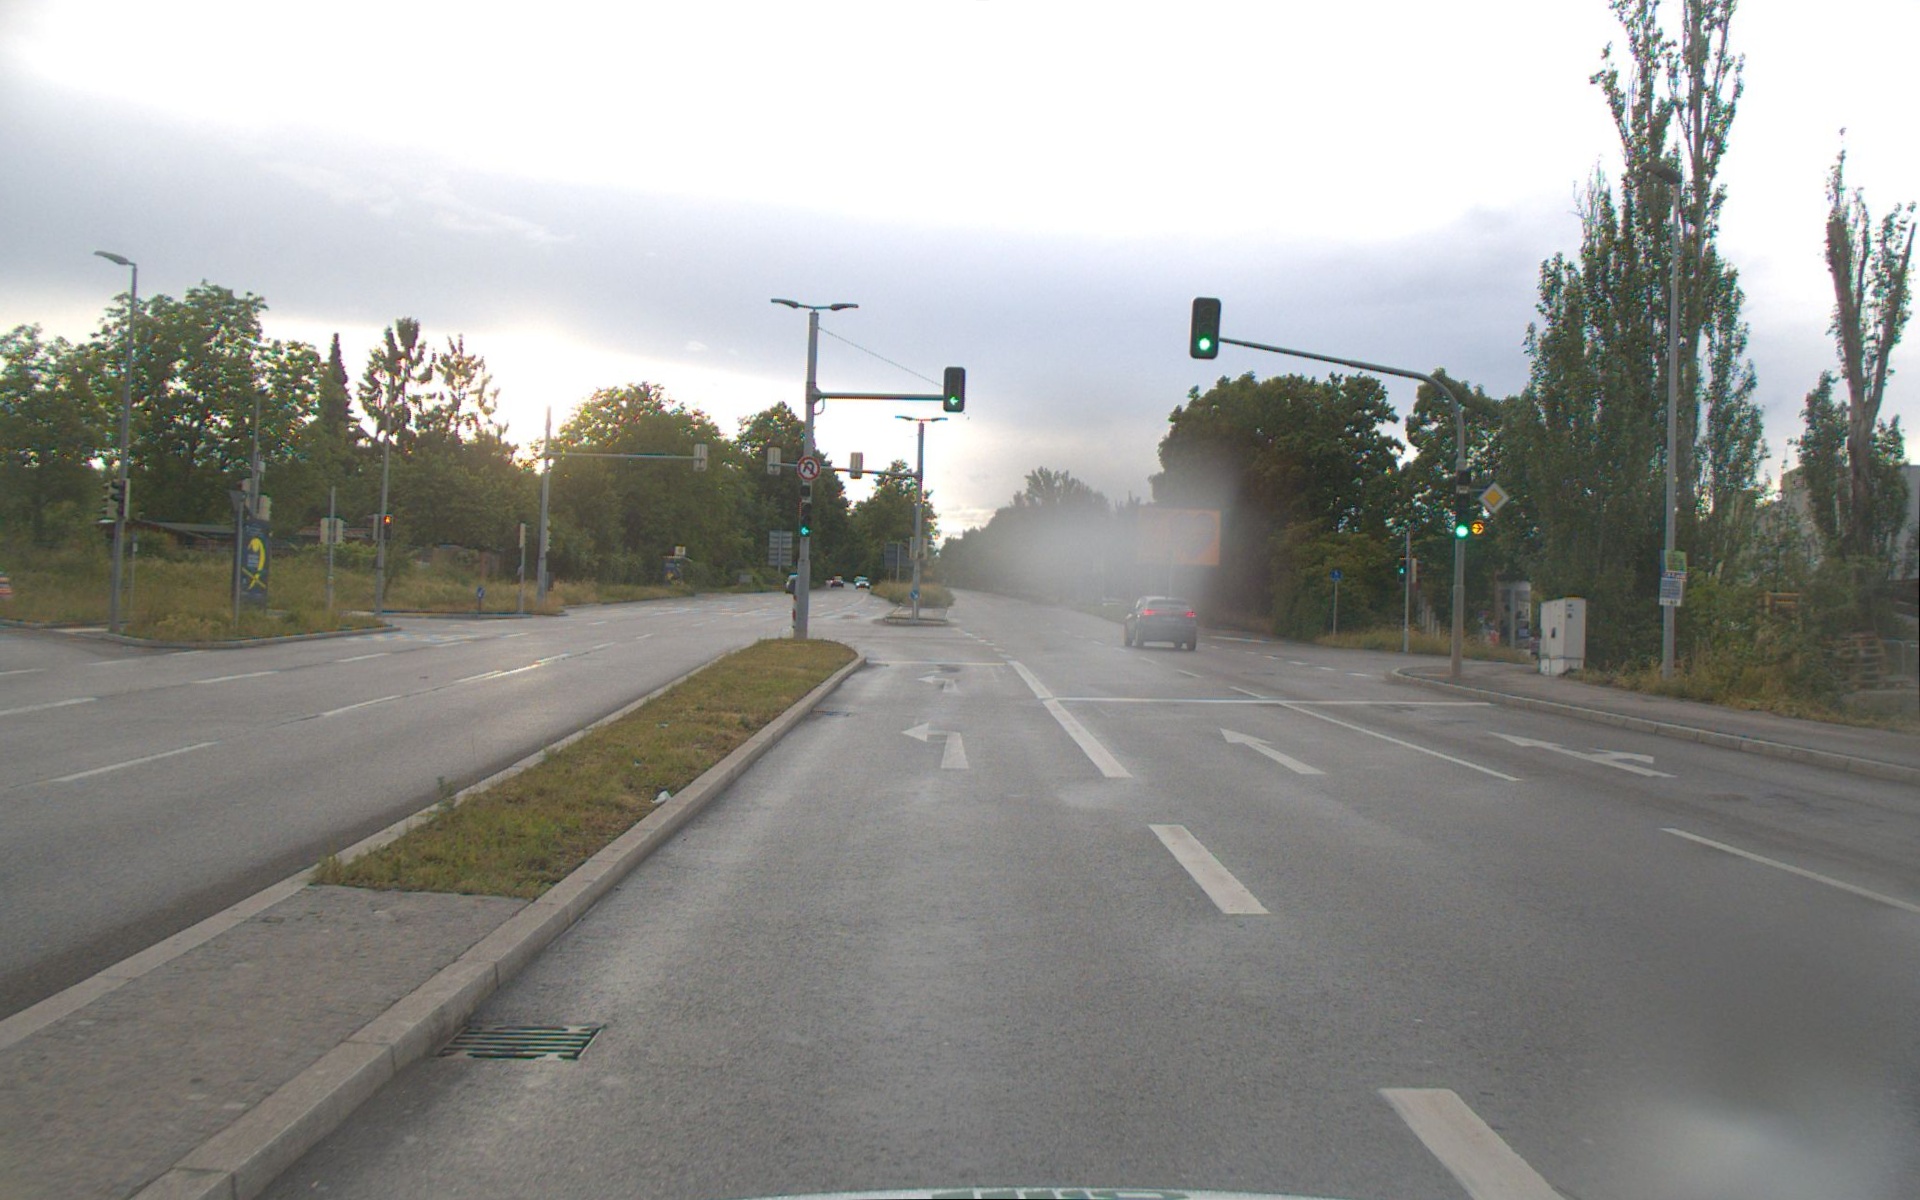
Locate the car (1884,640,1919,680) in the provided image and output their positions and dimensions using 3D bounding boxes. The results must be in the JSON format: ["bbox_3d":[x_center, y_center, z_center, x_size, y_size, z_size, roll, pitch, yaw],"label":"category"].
[{"bbox_3d":[41.822,2.615,70.757,3.794,1.591,1.515,2,0,-8],"label":"car"}]

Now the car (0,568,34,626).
[{"bbox_3d":[-31.307,-0.225,51.058,4.100,1.748,2.082,4,-2,-1],"label":"car"}]

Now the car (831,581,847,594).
[{"bbox_3d":[-16.811,-1.731,229.589,1.855,1.624,4.488,2,0,-1],"label":"car"}]

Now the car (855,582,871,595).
[{"bbox_3d":[-12.504,-1.472,213.631,1.855,1.561,4.488,2,0,-1],"label":"car"}]

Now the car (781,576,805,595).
[{"bbox_3d":[-15.023,-1.302,149.265,1.733,1.624,4.488,2,0,-1],"label":"car"}]

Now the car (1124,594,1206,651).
[{"bbox_3d":[5.877,0.606,47.743,1.709,1.495,4.165,2,0,-1],"label":"car"}]
